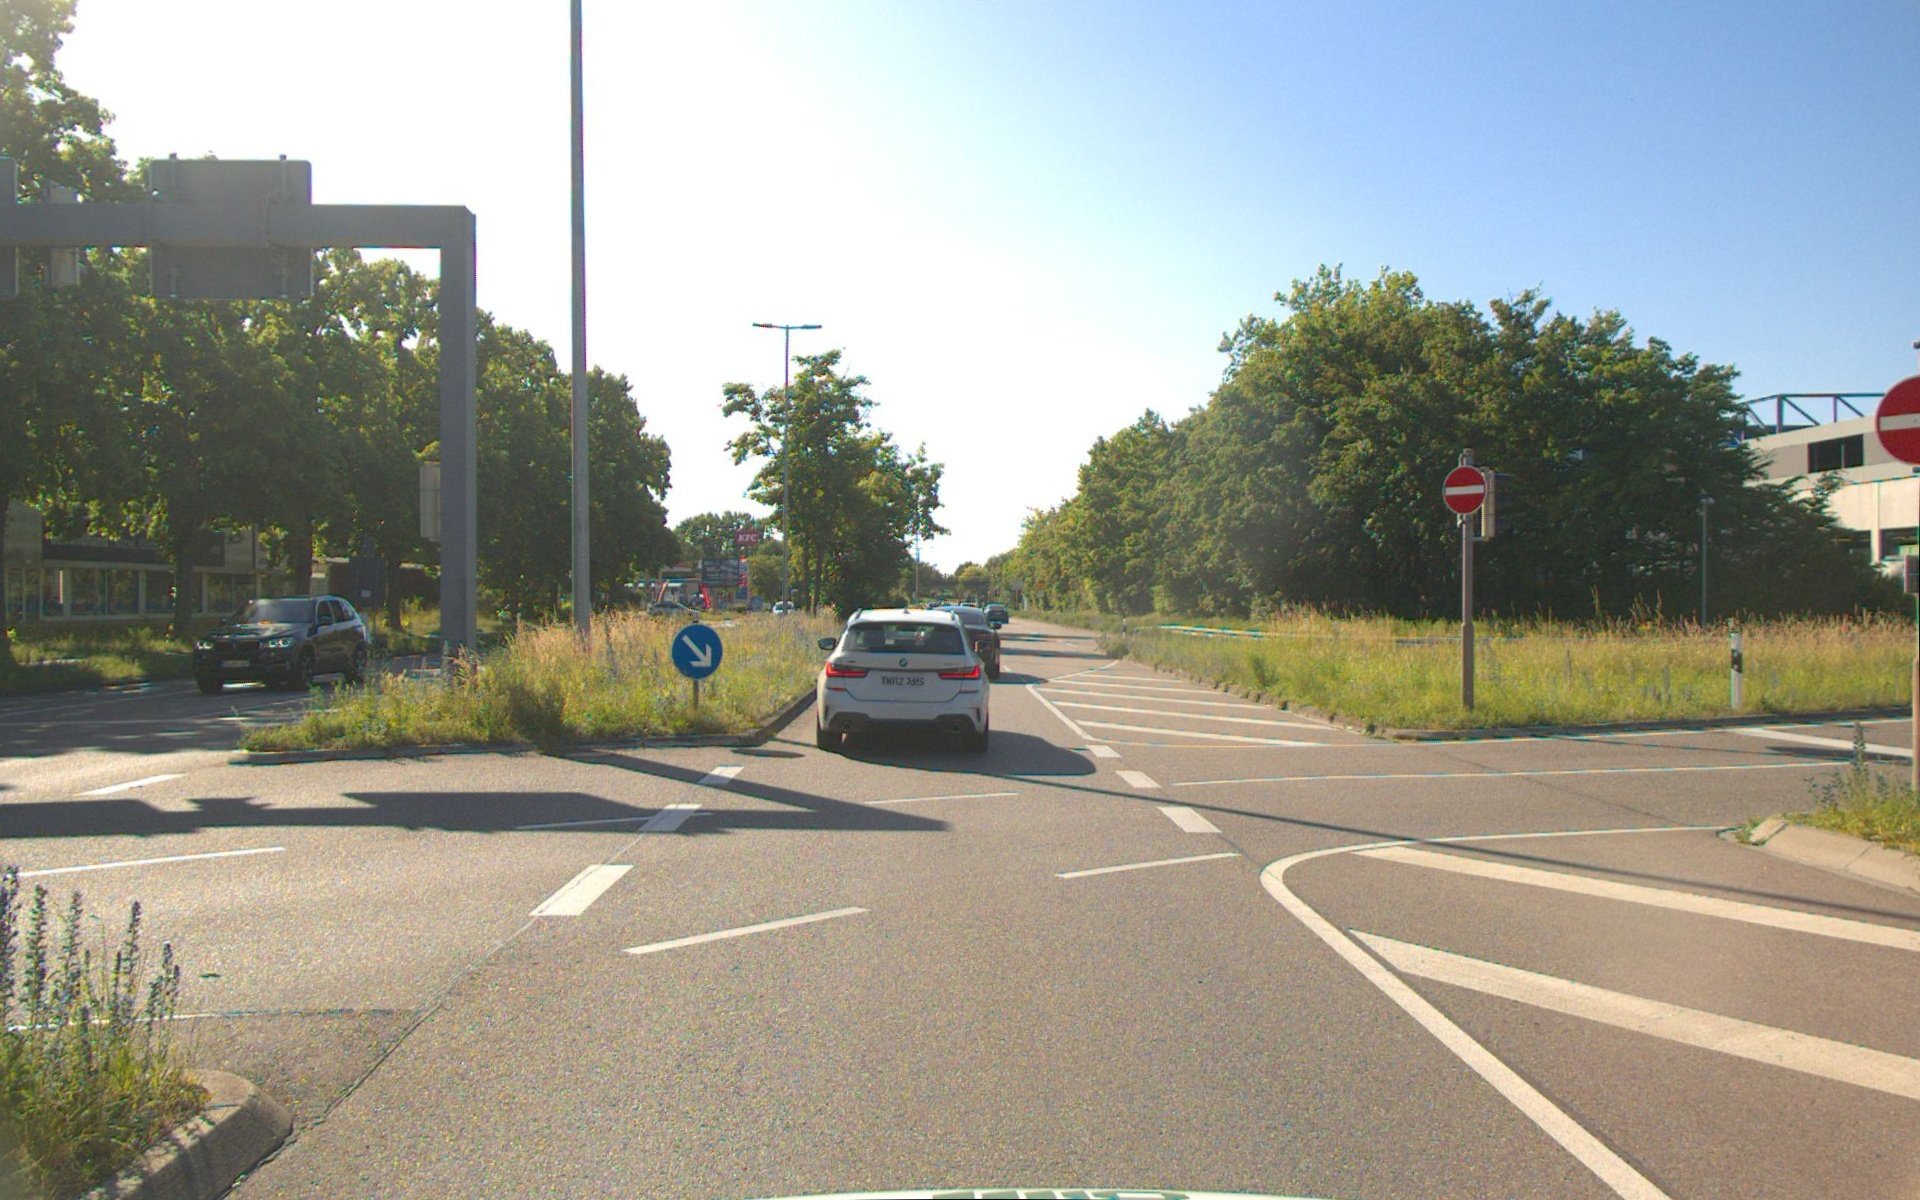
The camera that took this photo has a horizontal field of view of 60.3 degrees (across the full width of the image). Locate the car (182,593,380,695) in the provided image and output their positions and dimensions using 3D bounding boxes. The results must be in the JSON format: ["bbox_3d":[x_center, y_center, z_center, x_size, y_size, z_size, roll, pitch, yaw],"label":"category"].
[{"bbox_3d":[-12.865,0.773,31.680,1.903,1.726,4.628,-2,0,-1],"label":"car"}]

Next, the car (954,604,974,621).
[{"bbox_3d":[0.374,1.166,158.702,1.736,1.583,3.831,0,0,-3],"label":"car"}]

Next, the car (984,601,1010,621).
[{"bbox_3d":[2.858,0.815,127.091,1.824,1.525,4.335,0,0,-1],"label":"car"}]

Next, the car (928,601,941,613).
[{"bbox_3d":[-3.529,0.980,229.073,1.824,1.592,4.546,0,0,-1],"label":"car"}]

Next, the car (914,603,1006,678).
[{"bbox_3d":[-0.059,0.814,35.287,1.824,1.480,4.546,-1,0,-1],"label":"car"}]

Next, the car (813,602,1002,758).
[{"bbox_3d":[-0.537,0.786,18.436,1.824,1.480,4.546,1,0,-1],"label":"car"}]

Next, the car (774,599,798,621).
[{"bbox_3d":[-14.727,0.821,140.084,1.672,1.777,4.164,0,0,-2],"label":"car"}]

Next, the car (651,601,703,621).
[{"bbox_3d":[-24.056,0.938,140.801,4.025,1.691,1.893,-1,0,1],"label":"car"}]
